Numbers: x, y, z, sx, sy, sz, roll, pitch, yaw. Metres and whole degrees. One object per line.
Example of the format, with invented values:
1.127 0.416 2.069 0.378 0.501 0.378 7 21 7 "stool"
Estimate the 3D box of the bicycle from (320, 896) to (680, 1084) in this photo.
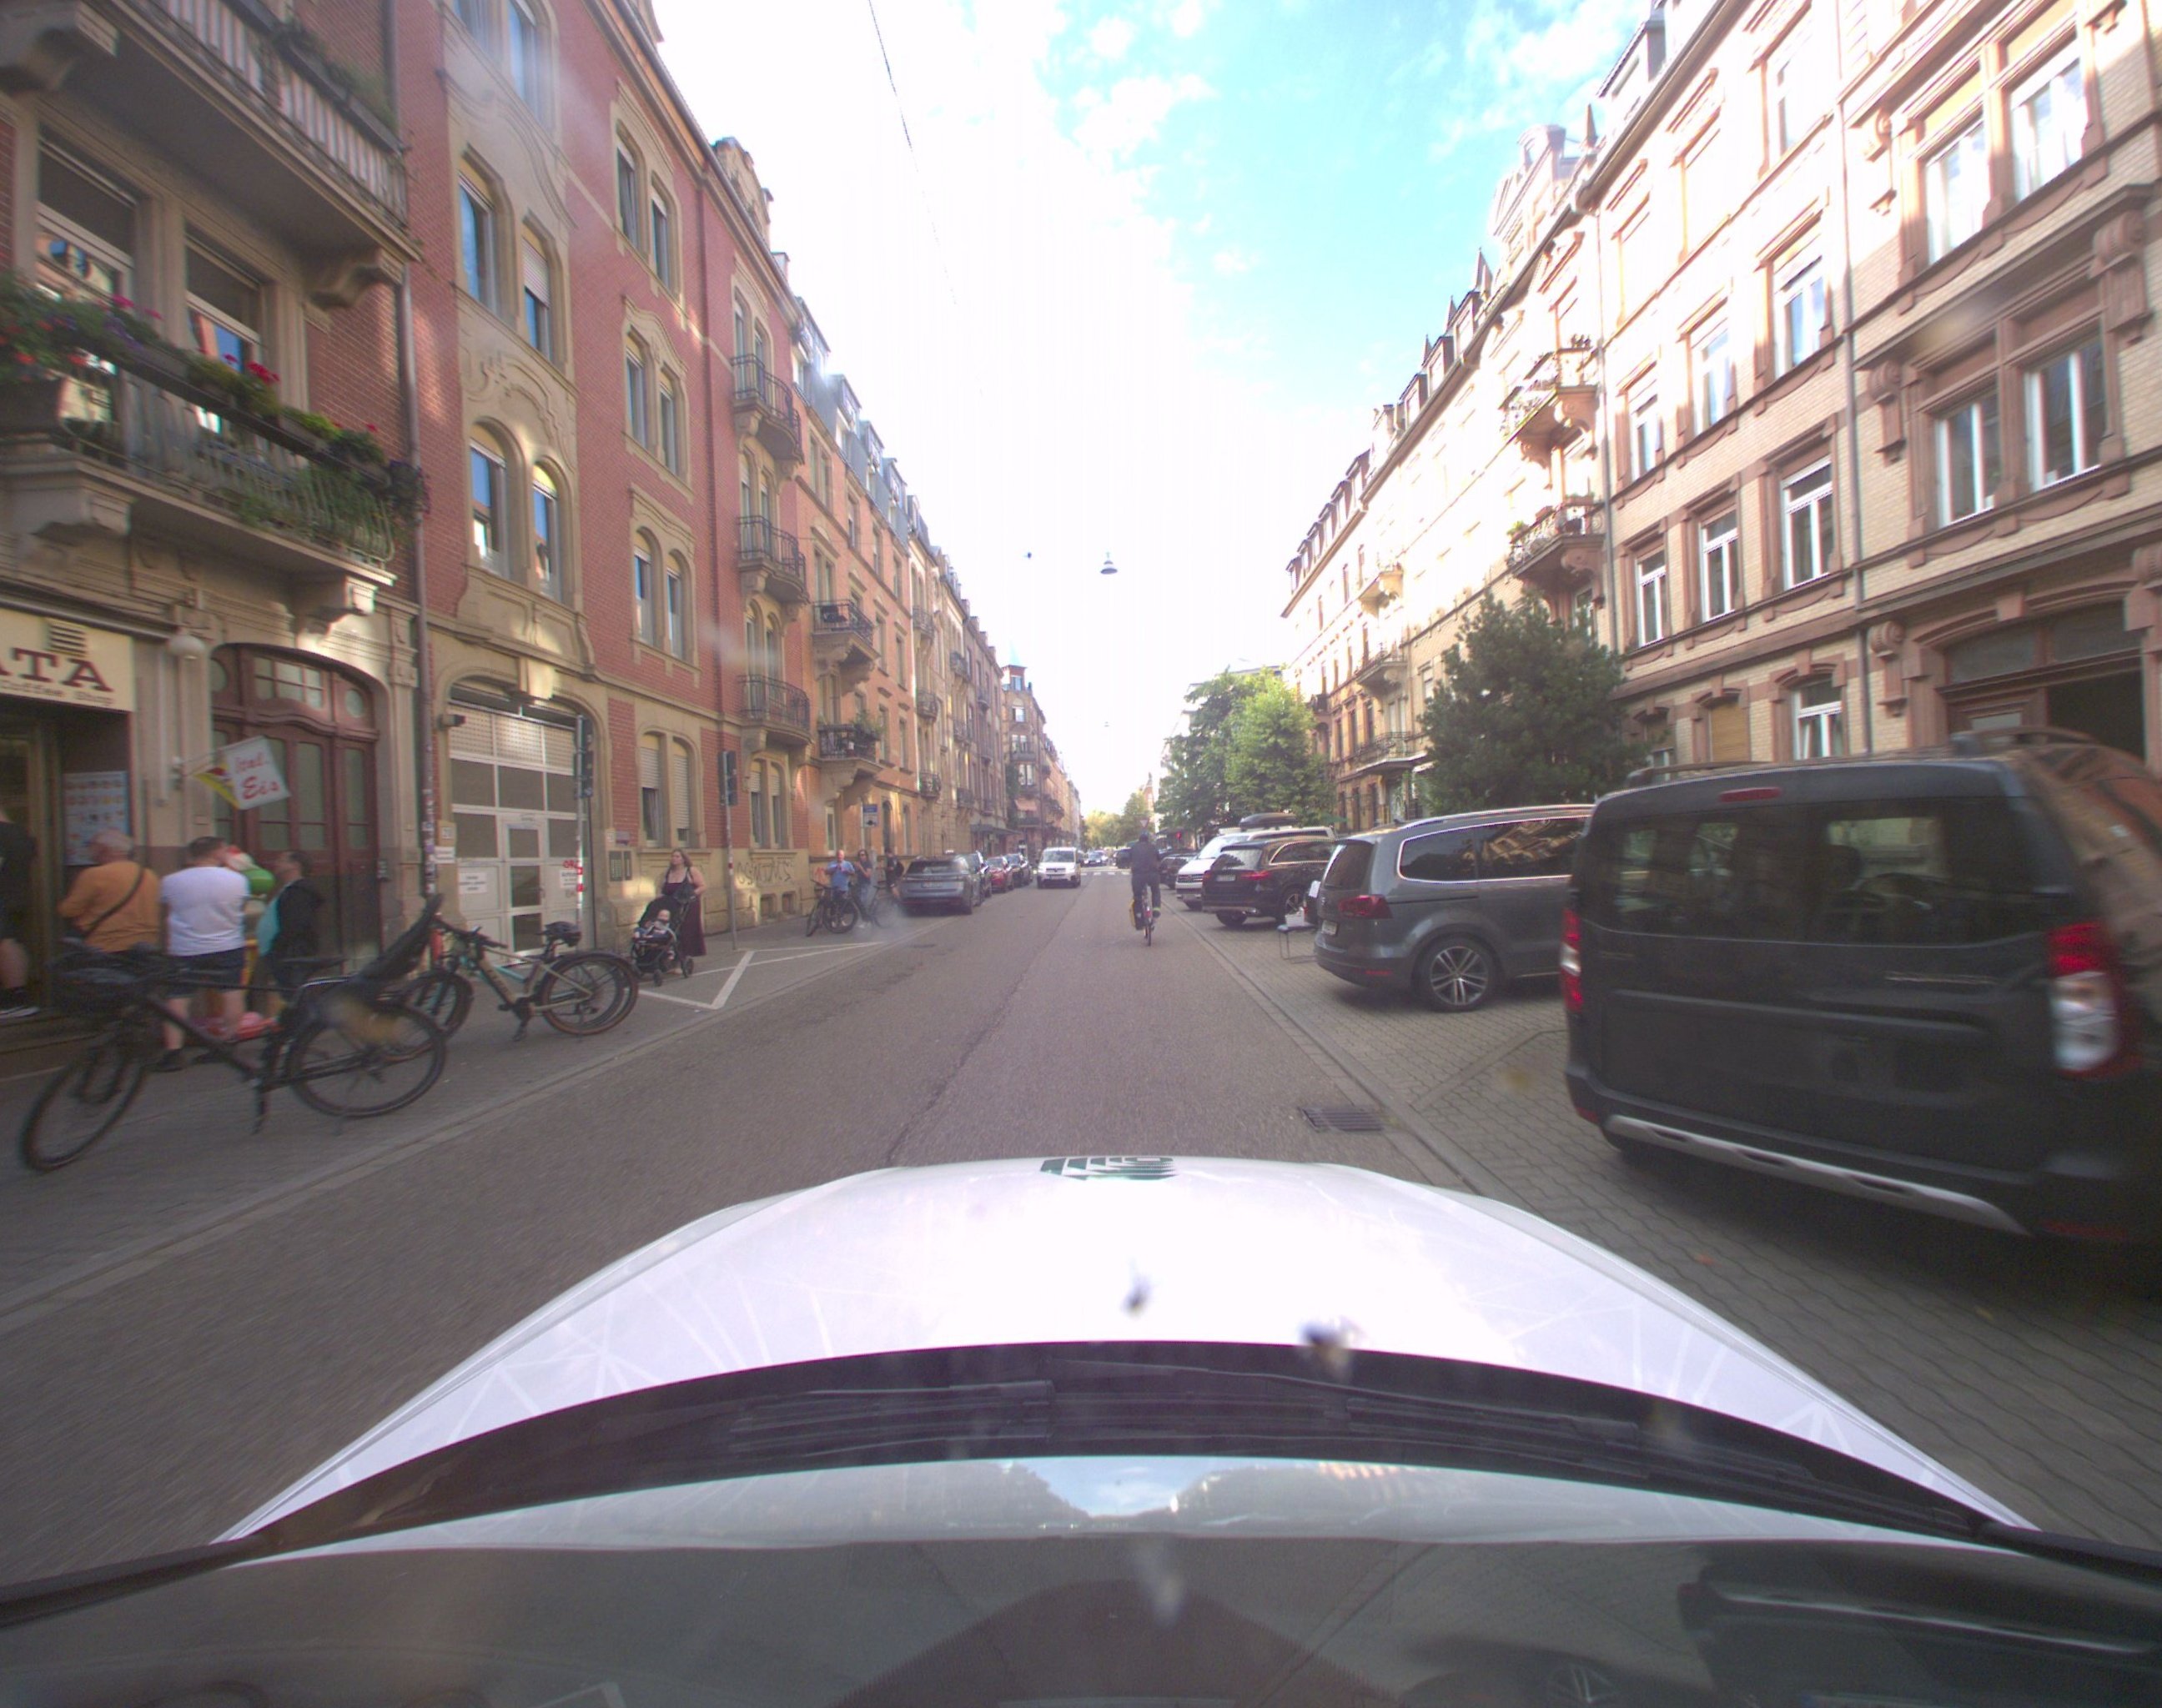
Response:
-4.655 0.991 6.720 0.798 1.159 2.284 -1 0 39 "bicycle"

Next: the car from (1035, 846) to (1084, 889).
-0.947 0.601 37.583 1.910 1.828 4.441 -1 0 2 "car"

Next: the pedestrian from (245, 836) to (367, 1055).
-6.376 0.710 6.733 0.567 1.696 0.641 -1 0 -29 "pedestrian"

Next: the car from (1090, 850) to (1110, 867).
2.216 0.517 94.649 1.934 1.722 4.855 -4 1 4 "car"

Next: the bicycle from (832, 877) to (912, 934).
-4.276 1.034 16.805 0.477 1.059 1.915 0 0 26 "bicycle"

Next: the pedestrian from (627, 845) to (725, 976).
-5.381 0.717 10.872 0.910 1.661 0.826 -1 0 -7 "pedestrian"

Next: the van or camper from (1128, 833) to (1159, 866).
5.994 -0.409 79.044 2.523 3.037 4.458 -2 0 0 "van or camper"

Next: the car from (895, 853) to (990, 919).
-3.675 0.779 22.504 1.820 1.578 5.260 -1 0 -1 "car"

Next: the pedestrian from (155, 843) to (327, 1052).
-7.207 0.765 7.027 0.661 1.696 0.764 -1 0 2 "pedestrian"

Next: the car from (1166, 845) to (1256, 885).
5.762 0.468 36.018 3.737 1.485 1.722 -4 1 -36 "car"

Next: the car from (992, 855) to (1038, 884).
-3.520 0.816 44.257 1.986 1.420 4.246 -2 0 1 "car"

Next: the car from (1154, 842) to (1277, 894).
5.047 0.479 30.248 4.491 1.476 1.868 -6 2 -38 "car"

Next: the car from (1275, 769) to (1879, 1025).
4.424 0.336 7.804 4.621 1.784 1.810 -5 2 0 "car"

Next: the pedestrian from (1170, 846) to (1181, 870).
6.904 0.277 59.343 0.624 1.739 0.779 -2 0 14 "pedestrian"

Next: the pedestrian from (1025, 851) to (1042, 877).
-3.346 0.709 57.676 0.774 1.779 0.798 -3 0 40 "pedestrian"

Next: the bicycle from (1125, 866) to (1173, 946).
1.101 0.814 13.657 0.663 1.178 2.498 -1 0 2 "bicycle"

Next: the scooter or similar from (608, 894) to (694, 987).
-5.331 1.052 10.152 0.604 1.055 0.921 -1 0 -3 "scooter or similar"

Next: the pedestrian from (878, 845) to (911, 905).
-5.827 0.643 25.448 0.752 1.808 0.864 -1 0 5 "pedestrian"

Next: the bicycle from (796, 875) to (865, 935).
-5.043 0.997 16.504 0.490 1.095 1.910 0 0 11 "bicycle"

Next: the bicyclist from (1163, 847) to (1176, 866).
8.143 0.240 74.844 0.846 1.665 0.795 -1 0 44 "bicyclist"

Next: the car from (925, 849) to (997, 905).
-4.036 0.711 28.174 1.868 1.681 4.891 -1 1 -2 "car"

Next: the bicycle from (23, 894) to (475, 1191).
-4.464 0.929 4.558 1.684 1.322 0.522 -1 0 -34 "bicycle"

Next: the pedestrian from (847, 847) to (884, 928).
-4.658 0.710 17.576 0.568 1.709 0.661 -1 0 -33 "pedestrian"

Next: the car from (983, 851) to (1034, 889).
-3.447 0.742 39.377 1.783 1.628 4.850 -2 0 2 "car"

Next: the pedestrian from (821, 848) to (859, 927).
-5.242 0.712 17.721 0.683 1.661 0.546 -1 0 -28 "pedestrian"

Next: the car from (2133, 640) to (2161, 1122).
3.813 0.420 1.410 4.012 1.741 1.822 -4 0 -29 "car"

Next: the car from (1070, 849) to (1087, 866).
-0.307 0.444 104.843 1.987 2.013 3.999 -3 0 0 "car"

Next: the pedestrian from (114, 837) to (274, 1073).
-6.800 0.727 6.277 0.667 1.696 0.580 -1 0 -29 "pedestrian"

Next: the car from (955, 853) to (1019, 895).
-3.842 0.785 33.910 1.986 1.545 4.428 -2 0 1 "car"

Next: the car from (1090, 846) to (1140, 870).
2.718 0.321 65.872 3.973 1.882 2.000 -1 0 1 "car"

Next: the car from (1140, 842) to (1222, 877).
5.852 0.324 47.545 4.362 1.645 1.807 -5 1 -24 "car"

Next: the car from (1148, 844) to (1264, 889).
5.115 0.476 33.152 4.486 1.464 1.860 -5 1 -33 "car"

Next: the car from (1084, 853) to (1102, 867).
1.264 0.612 84.932 1.744 1.436 4.211 -1 -1 0 "car"

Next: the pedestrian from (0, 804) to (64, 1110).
-7.022 0.627 5.002 0.765 1.854 0.659 -1 0 -29 "pedestrian"

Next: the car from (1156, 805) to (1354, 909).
4.697 0.026 21.724 5.178 2.405 1.899 -3 0 -31 "car"

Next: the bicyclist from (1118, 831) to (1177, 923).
1.112 0.376 13.748 0.930 1.484 0.747 -1 0 1 "bicyclist"

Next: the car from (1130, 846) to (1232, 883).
5.129 0.504 41.580 4.779 1.456 2.039 -5 1 -26 "car"

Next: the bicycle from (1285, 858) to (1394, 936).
4.216 0.683 13.449 0.407 1.182 1.899 -3 0 -29 "bicycle"

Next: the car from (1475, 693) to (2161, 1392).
4.156 0.381 3.992 4.418 1.822 1.738 -4 0 -30 "car"

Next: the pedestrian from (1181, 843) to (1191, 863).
10.046 -0.082 77.702 0.864 1.851 0.614 -2 0 7 "pedestrian"

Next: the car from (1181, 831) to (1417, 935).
4.335 0.476 15.960 4.475 1.732 1.979 -2 0 -33 "car"

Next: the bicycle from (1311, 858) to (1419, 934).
4.722 0.682 13.676 0.407 1.182 1.850 -3 0 -29 "bicycle"

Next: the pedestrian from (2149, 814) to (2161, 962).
8.596 0.280 5.955 0.598 1.219 0.674 -5 0 1 "pedestrian"
